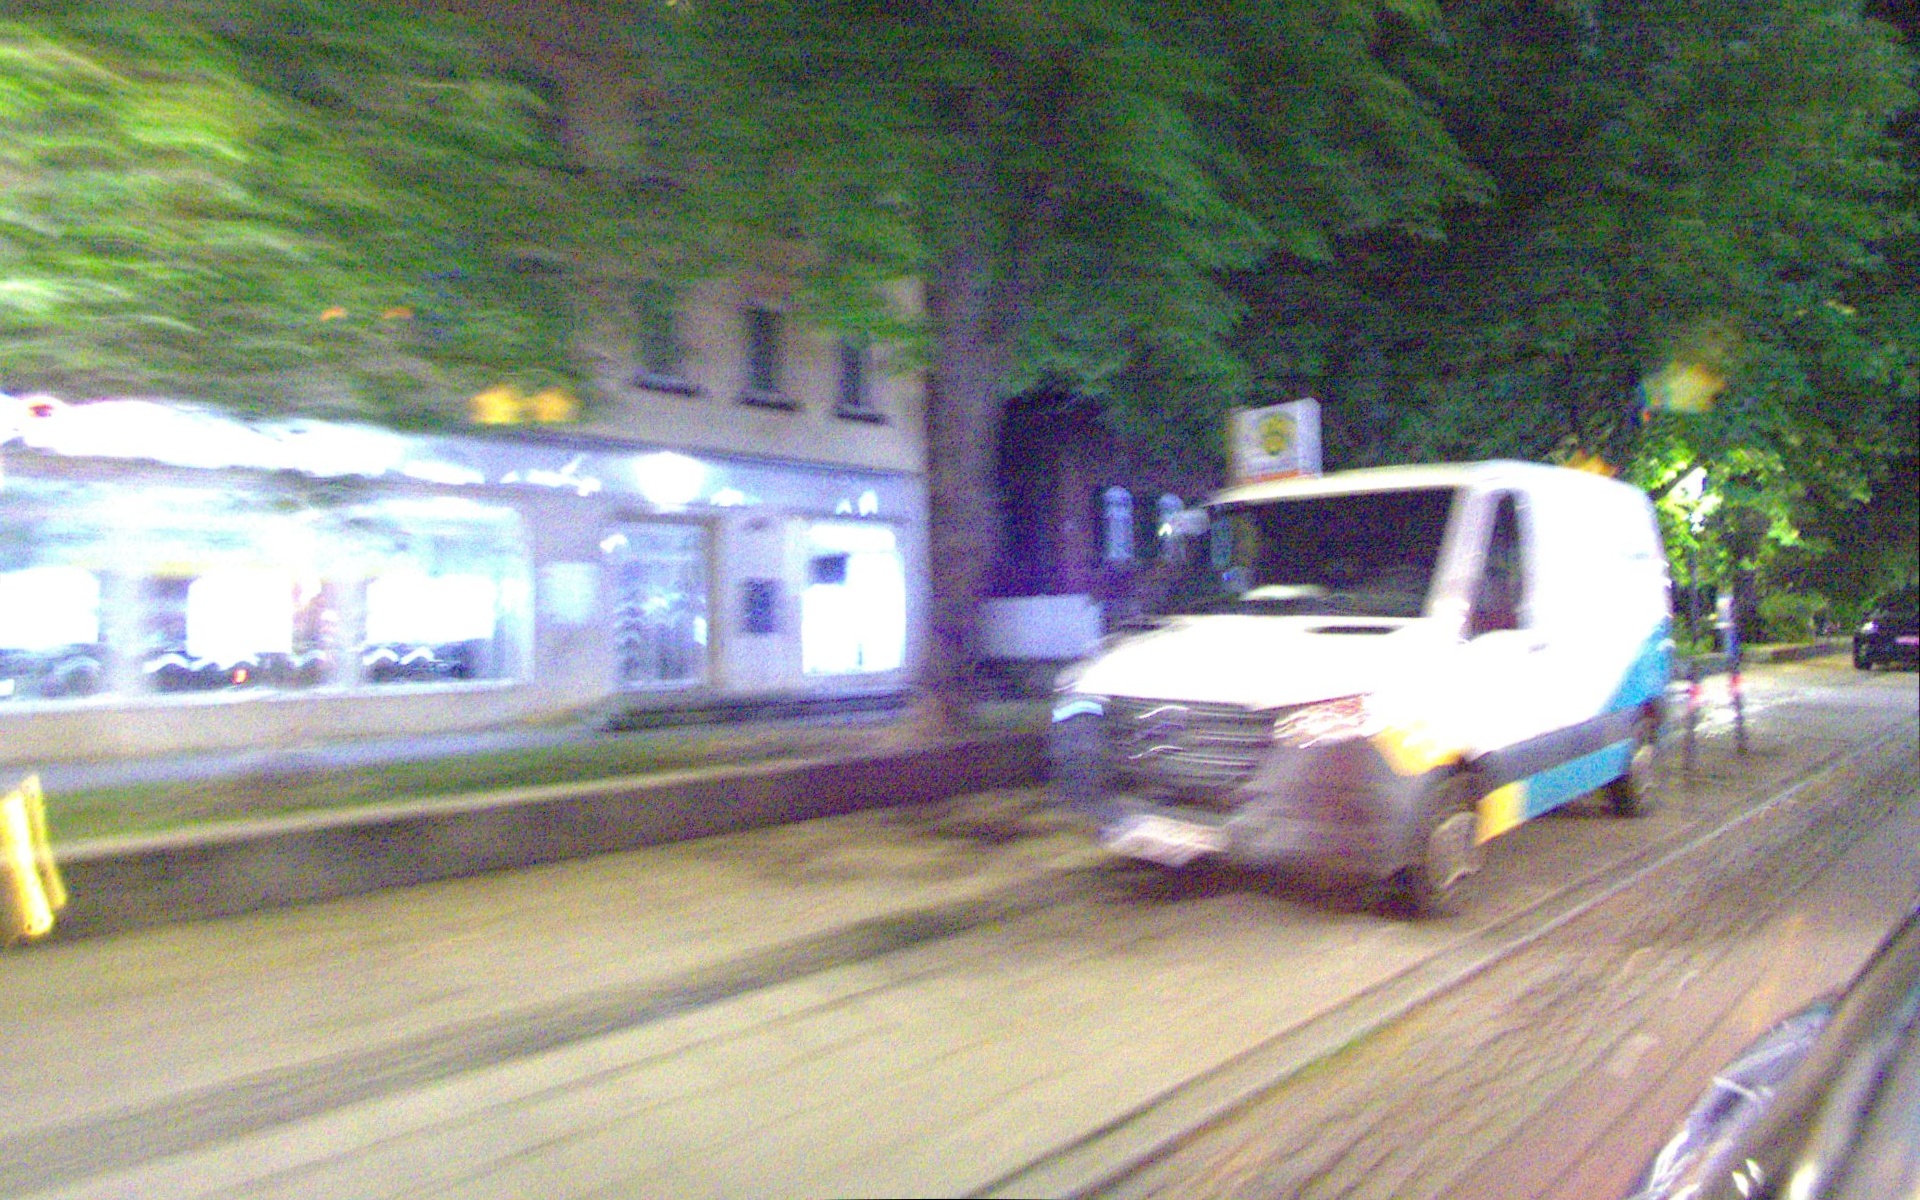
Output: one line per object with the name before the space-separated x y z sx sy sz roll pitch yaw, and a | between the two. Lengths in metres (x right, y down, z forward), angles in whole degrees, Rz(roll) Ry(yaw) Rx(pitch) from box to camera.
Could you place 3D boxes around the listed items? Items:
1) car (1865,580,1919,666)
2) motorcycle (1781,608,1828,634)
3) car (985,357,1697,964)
car | 22.318 0.482 23.078 4.851 1.826 1.910 0 -2 -41
motorcycle | 41.433 1.049 49.646 1.718 1.267 0.426 -2 -2 43
car | 2.730 0.251 6.438 5.063 2.356 2.136 0 -2 -42
